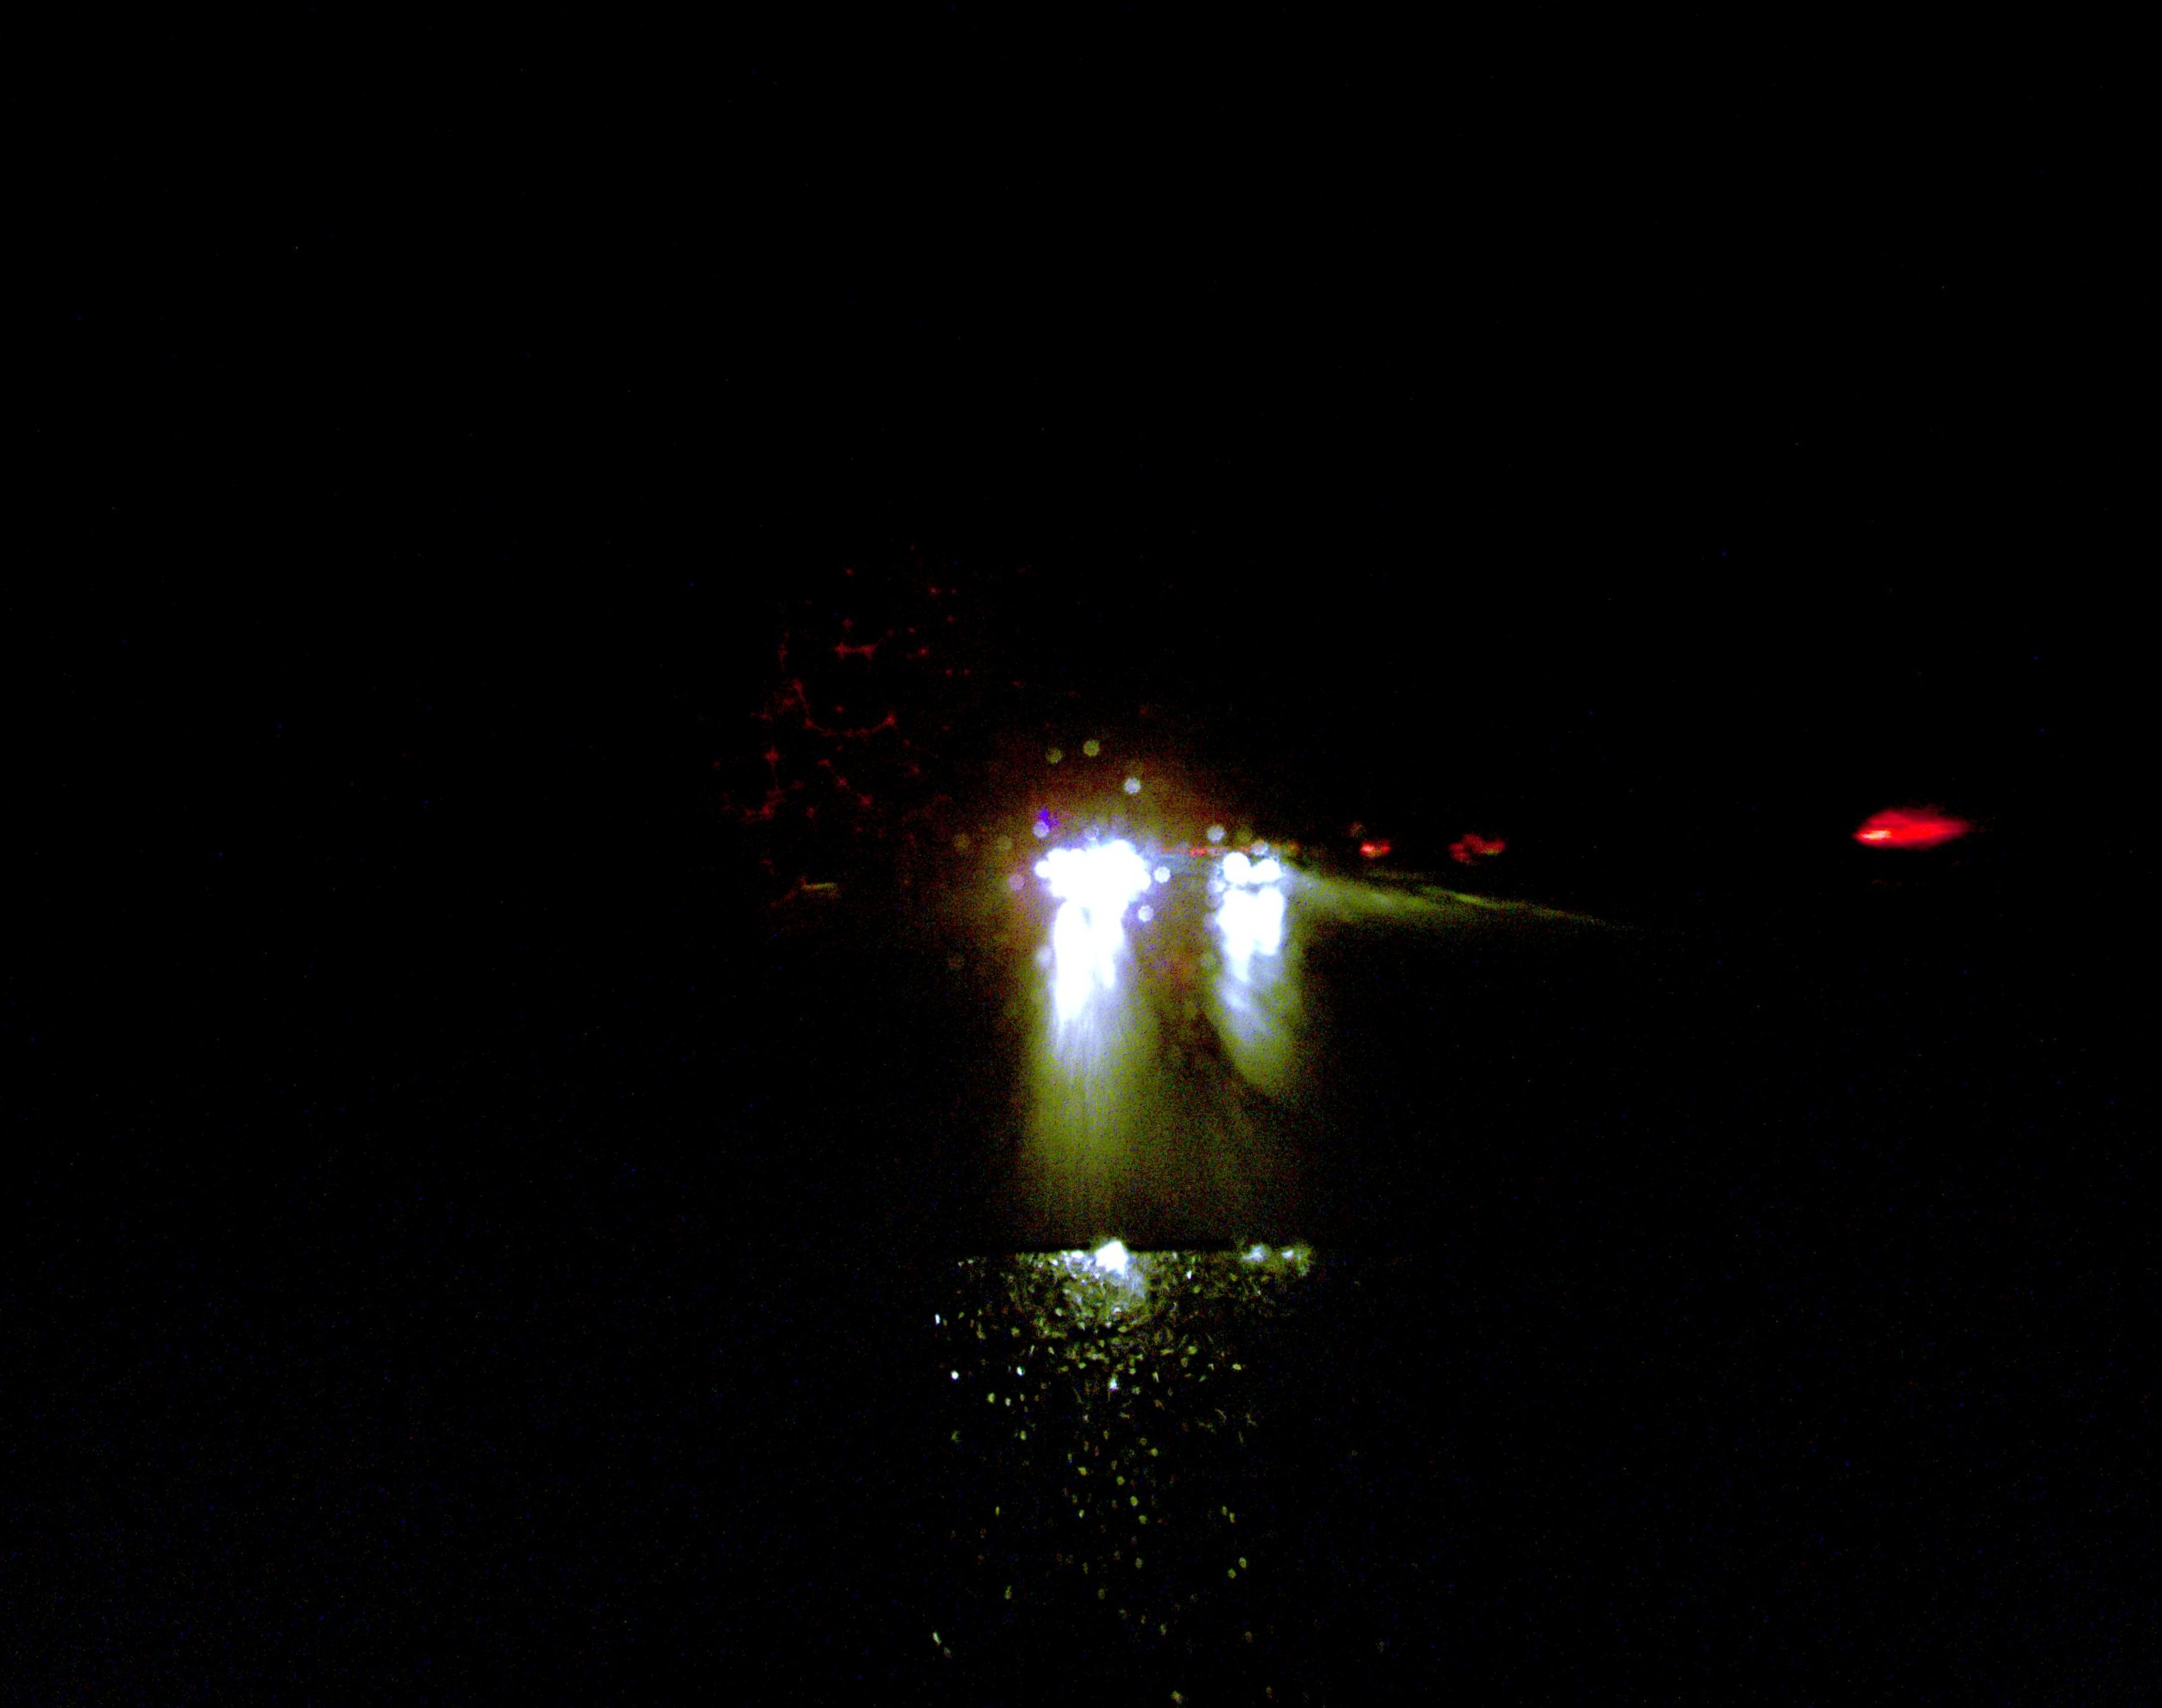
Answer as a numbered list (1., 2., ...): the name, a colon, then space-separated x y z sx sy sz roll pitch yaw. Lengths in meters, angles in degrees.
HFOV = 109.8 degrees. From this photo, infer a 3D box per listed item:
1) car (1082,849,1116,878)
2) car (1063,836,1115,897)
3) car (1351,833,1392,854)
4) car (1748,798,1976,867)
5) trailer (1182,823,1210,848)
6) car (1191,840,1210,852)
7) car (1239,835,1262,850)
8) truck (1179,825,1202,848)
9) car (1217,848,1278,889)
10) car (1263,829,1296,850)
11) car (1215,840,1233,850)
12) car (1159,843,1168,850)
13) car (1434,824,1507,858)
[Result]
1. car: 1.046 0.535 45.300 1.848 1.532 3.999 -3 1 0
2. car: 0.307 0.438 29.119 1.754 2.093 4.463 -2 0 1
3. car: 22.514 -0.815 58.976 1.768 1.487 3.802 -3 1 1
4. car: 21.521 -0.580 21.244 1.846 1.638 4.332 -3 1 -1
5. trailer: 20.187 -3.152 134.222 3.363 4.149 11.720 -2 1 2
6. car: 16.558 -1.101 105.476 1.886 1.500 4.305 -3 1 0
7. car: 21.950 -1.491 98.544 1.896 1.899 4.843 -3 1 2
8. truck: 20.329 -3.238 141.972 3.373 4.149 6.464 -2 1 1
9. car: 6.814 0.582 31.455 1.654 1.566 3.849 -1 0 0
10. car: 19.774 -1.426 75.774 1.991 1.899 5.135 -3 1 2
11. car: 21.837 -1.385 116.262 1.843 1.386 4.167 -2 1 -1
12. car: 19.466 -1.847 178.752 1.710 1.488 3.718 -3 1 0
13. car: 20.653 -0.683 40.444 1.812 1.602 4.199 -3 1 2
